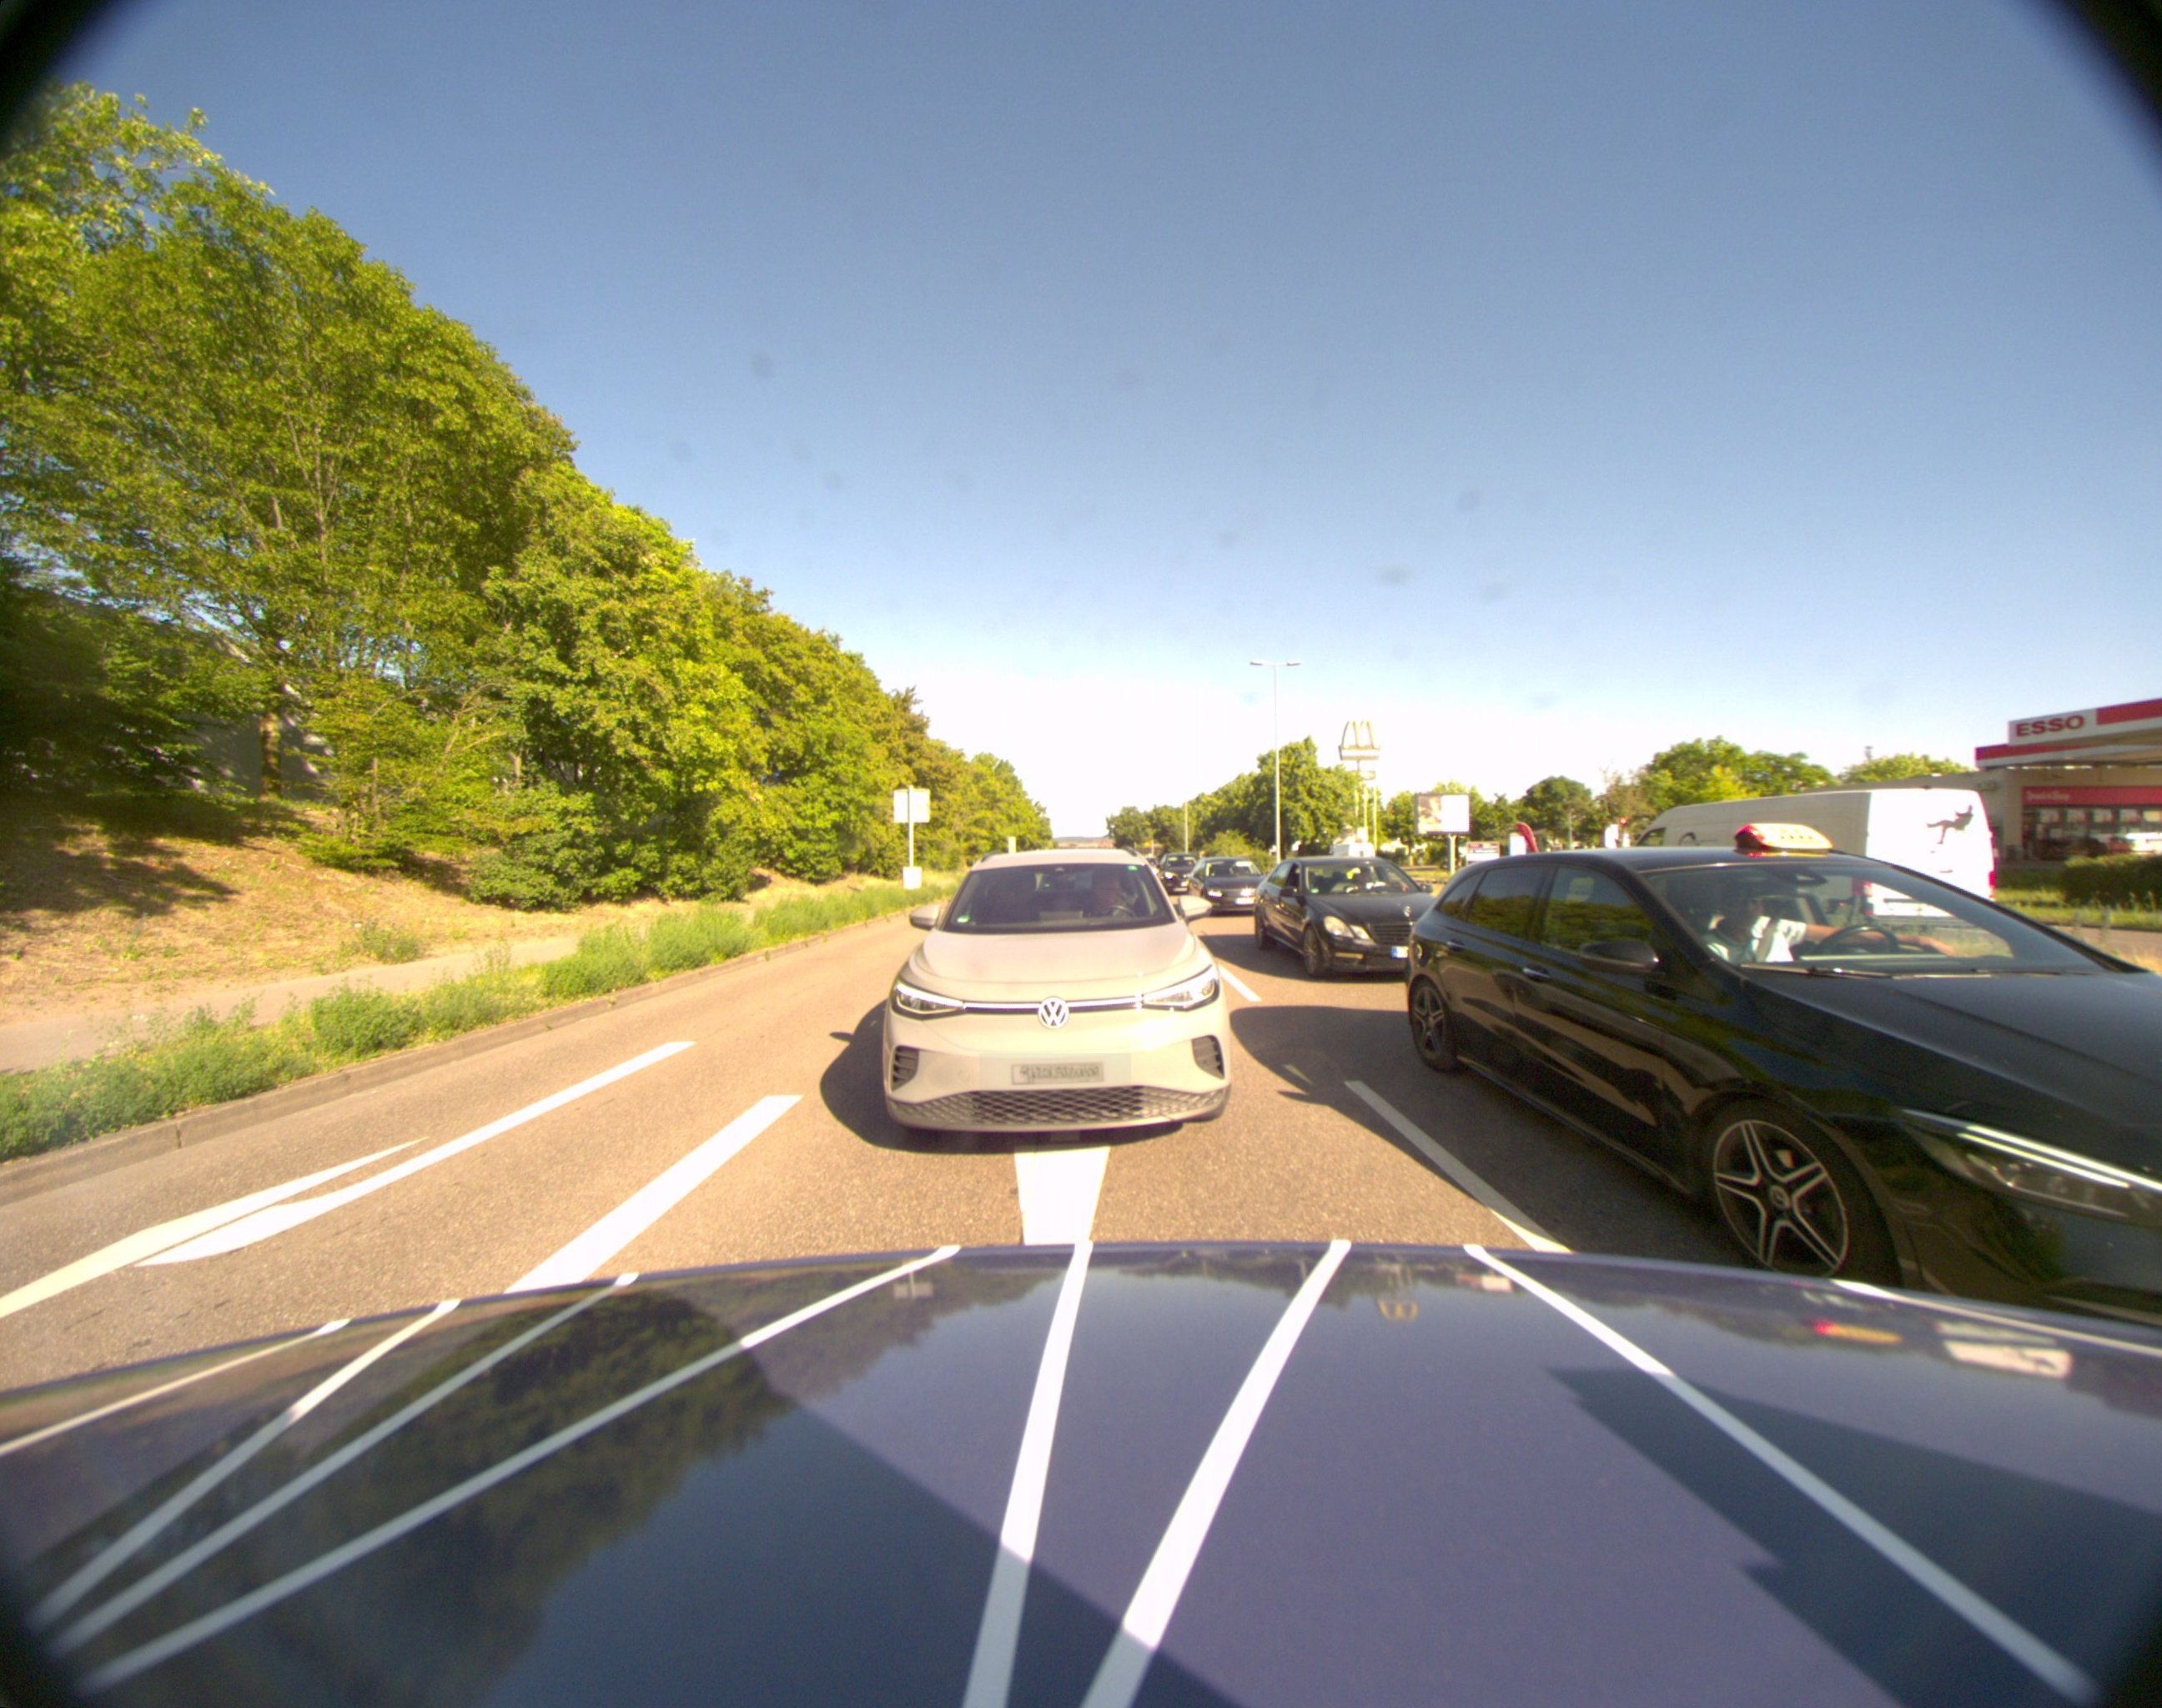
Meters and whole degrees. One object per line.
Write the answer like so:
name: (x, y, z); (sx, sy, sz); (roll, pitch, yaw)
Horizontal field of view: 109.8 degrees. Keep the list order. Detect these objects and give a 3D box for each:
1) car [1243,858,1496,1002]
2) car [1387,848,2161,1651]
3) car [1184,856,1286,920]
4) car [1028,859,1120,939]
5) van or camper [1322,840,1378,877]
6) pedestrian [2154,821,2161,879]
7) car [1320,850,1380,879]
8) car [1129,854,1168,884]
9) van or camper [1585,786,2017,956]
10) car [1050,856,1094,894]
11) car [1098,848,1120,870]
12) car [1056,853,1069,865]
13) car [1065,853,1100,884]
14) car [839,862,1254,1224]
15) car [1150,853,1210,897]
car: (3.634, 0.845, 10.522); (1.862, 1.515, 4.403); (-1, 0, 1)
car: (3.153, 0.804, 3.580); (1.804, 1.616, 4.188); (-1, 0, 2)
car: (3.945, 0.824, 20.247); (1.862, 1.472, 4.403); (-1, 0, 1)
car: (-0.114, 0.894, 16.792); (1.765, 1.503, 3.760); (-2, 0, 1)
van or camper: (20.084, 0.311, 56.968); (1.999, 2.635, 5.956); (1, 0, 0)
pedestrian: (37.236, -0.141, 25.704); (0.703, 2.002, 0.840); (-1, 0, 1)
car: (16.637, 0.626, 47.199); (1.999, 1.643, 4.613); (1, 0, -1)
car: (3.790, 0.797, 43.273); (1.862, 1.578, 4.403); (-1, 0, 1)
van or camper: (13.281, 0.260, 15.024); (2.183, 2.557, 6.754); (-1, 0, 1)
car: (-0.343, 0.884, 33.293); (1.765, 1.503, 3.760); (-2, 0, 1)
car: (3.066, 0.520, 83.437); (2.289, 2.274, 5.381); (-1, 0, 1)
car: (-3.331, 0.895, 139.359); (2.289, 2.037, 5.381); (-1, 0, -1)
car: (0.086, 0.742, 40.967); (1.765, 1.503, 3.760); (-2, 0, 1)
car: (-0.134, 0.895, 5.475); (1.871, 1.588, 3.932); (-2, 0, 1)
car: (3.872, 0.773, 30.336); (1.862, 1.578, 4.403); (-1, 0, 1)
